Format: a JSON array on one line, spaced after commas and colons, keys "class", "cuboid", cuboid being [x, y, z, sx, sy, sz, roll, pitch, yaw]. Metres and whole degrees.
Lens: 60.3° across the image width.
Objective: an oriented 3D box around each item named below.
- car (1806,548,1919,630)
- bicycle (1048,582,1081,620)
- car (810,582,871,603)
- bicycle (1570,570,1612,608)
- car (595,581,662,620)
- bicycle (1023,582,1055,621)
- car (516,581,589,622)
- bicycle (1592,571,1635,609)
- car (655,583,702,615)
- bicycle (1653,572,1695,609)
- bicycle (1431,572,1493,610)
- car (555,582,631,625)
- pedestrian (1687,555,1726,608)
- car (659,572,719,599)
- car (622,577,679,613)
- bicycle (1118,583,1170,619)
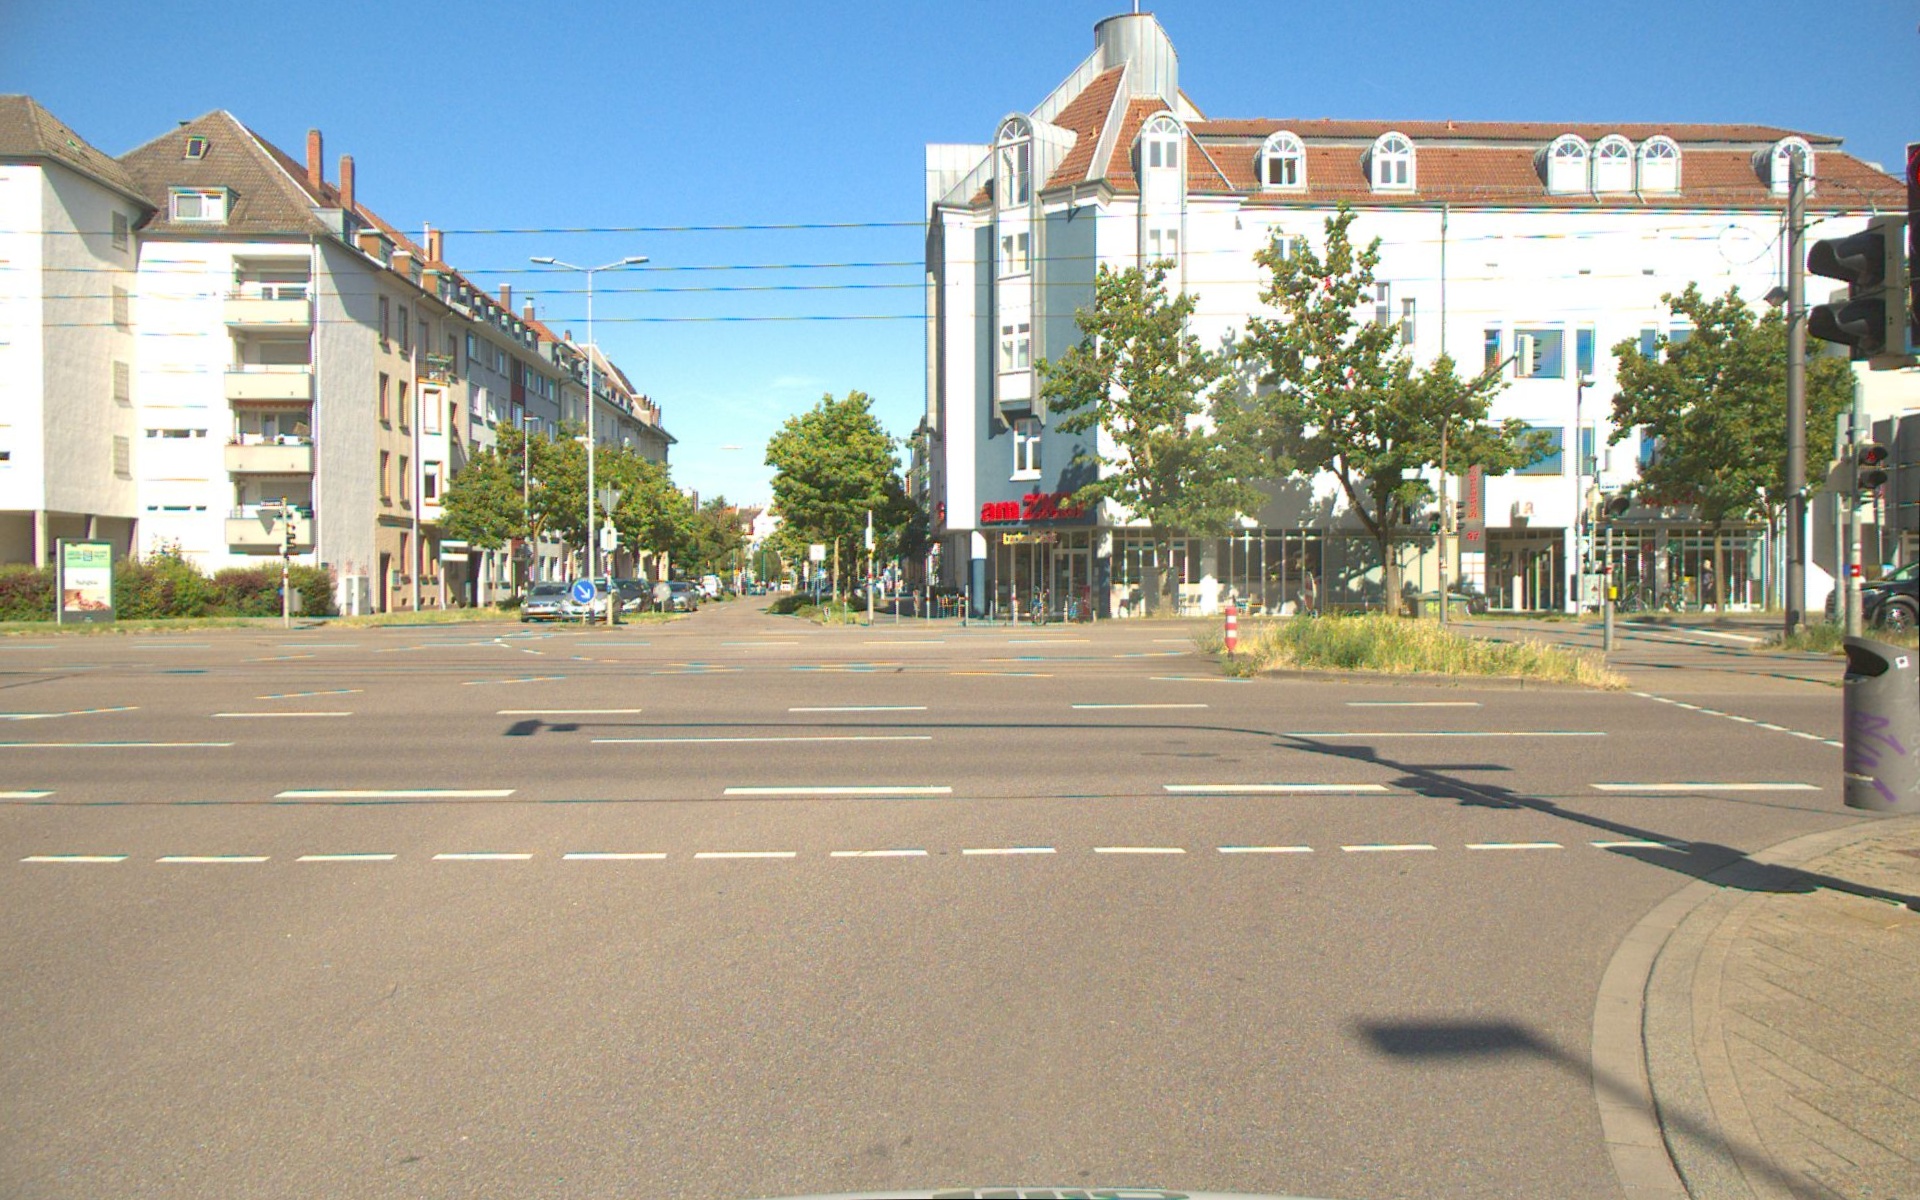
[{"class": "car", "cuboid": [20.184, -0.255, 34.144, 4.405, 1.637, 2.002, -1, 0, 7]}, {"class": "bicycle", "cuboid": [2.917, 0.011, 46.355, 0.463, 1.045, 1.510, -1, 1, -14]}, {"class": "car", "cuboid": [-7.143, -0.429, 98.831, 3.501, 1.244, 1.727, 0, -1, -9]}, {"class": "bicycle", "cuboid": [20.711, -0.360, 54.293, 0.549, 1.203, 1.868, -1, 1, -4]}, {"class": "car", "cuboid": [-13.278, 0.019, 66.492, 1.653, 1.457, 4.400, 2, 0, 1]}, {"class": "bicycle", "cuboid": [2.182, 0.033, 45.800, 0.463, 1.045, 1.511, -1, 1, -13]}, {"class": "car", "cuboid": [-15.456, 0.033, 62.897, 1.653, 1.457, 4.399, 2, 0, 0]}, {"class": "bicycle", "cuboid": [21.579, -0.338, 54.644, 0.549, 1.203, 1.868, -1, 1, -4]}, {"class": "car", "cuboid": [-13.797, -0.074, 81.231, 1.654, 1.457, 4.398, 2, 0, -2]}, {"class": "bicycle", "cuboid": [23.432, -0.320, 54.314, 0.549, 1.203, 1.869, -1, 1, -1]}, {"class": "bicycle", "cuboid": [16.043, -0.287, 52.900, 1.828, 1.203, 0.561, -1, 0, -7]}, {"class": "car", "cuboid": [-13.193, 0.112, 59.693, 1.653, 1.457, 4.400, 2, 0, 1]}, {"class": "pedestrian", "cuboid": [25.081, -0.631, 55.578, 0.970, 1.753, 0.654, -1, 0, -4]}, {"class": "car", "cuboid": [-21.084, -1.150, 128.908, 4.417, 2.049, 1.998, 0, -1, -6]}, {"class": "car", "cuboid": [-13.555, -0.215, 72.669, 1.653, 1.457, 4.399, 2, 0, 0]}, {"class": "bicycle", "cuboid": [5.362, 0.029, 48.211, 1.479, 1.045, 0.473, -1, 0, 8]}]
